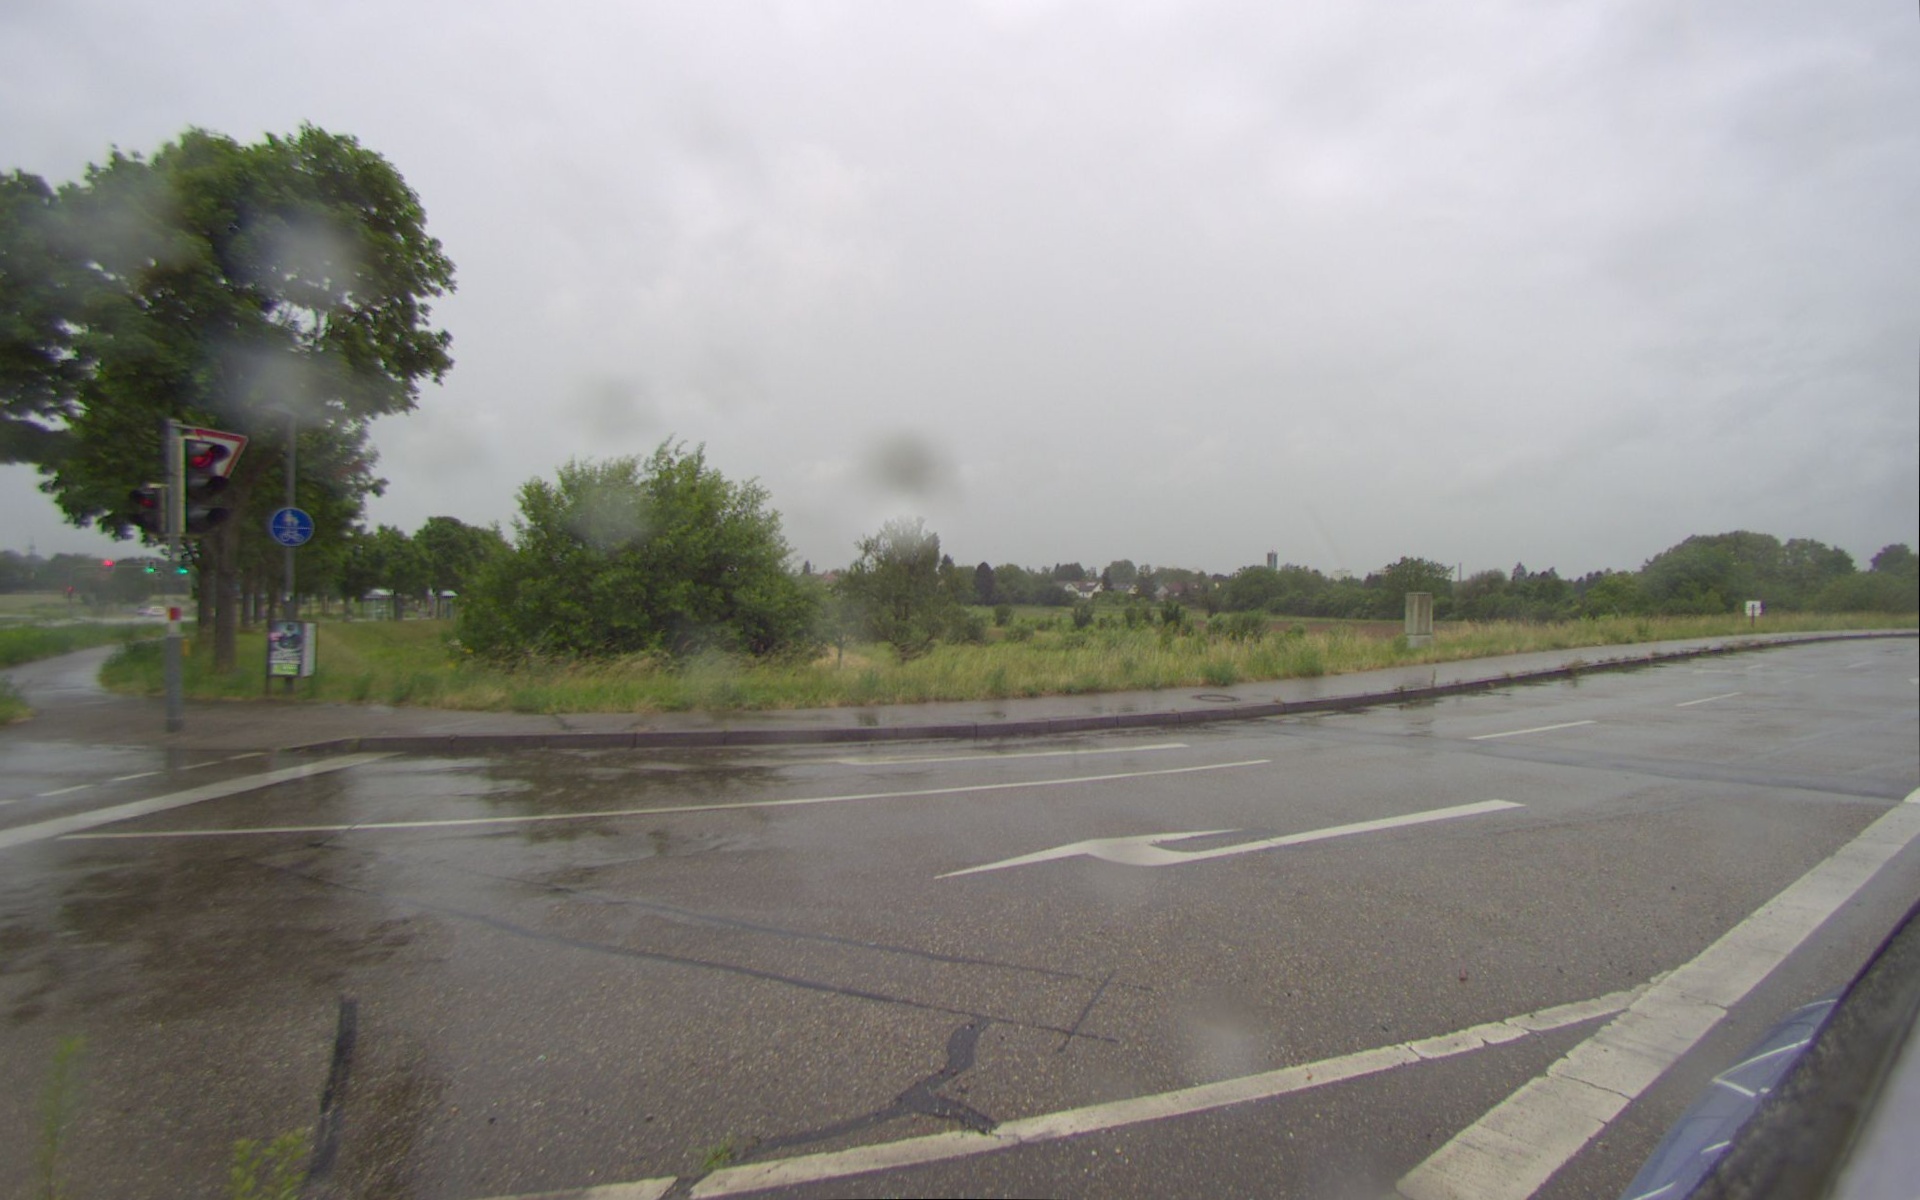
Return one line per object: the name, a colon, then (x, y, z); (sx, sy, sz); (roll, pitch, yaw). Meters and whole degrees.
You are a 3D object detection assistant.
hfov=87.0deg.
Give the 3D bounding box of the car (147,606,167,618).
car: (-100.834, 1.503, 127.112); (1.845, 1.371, 4.050); (0, 1, -37)
